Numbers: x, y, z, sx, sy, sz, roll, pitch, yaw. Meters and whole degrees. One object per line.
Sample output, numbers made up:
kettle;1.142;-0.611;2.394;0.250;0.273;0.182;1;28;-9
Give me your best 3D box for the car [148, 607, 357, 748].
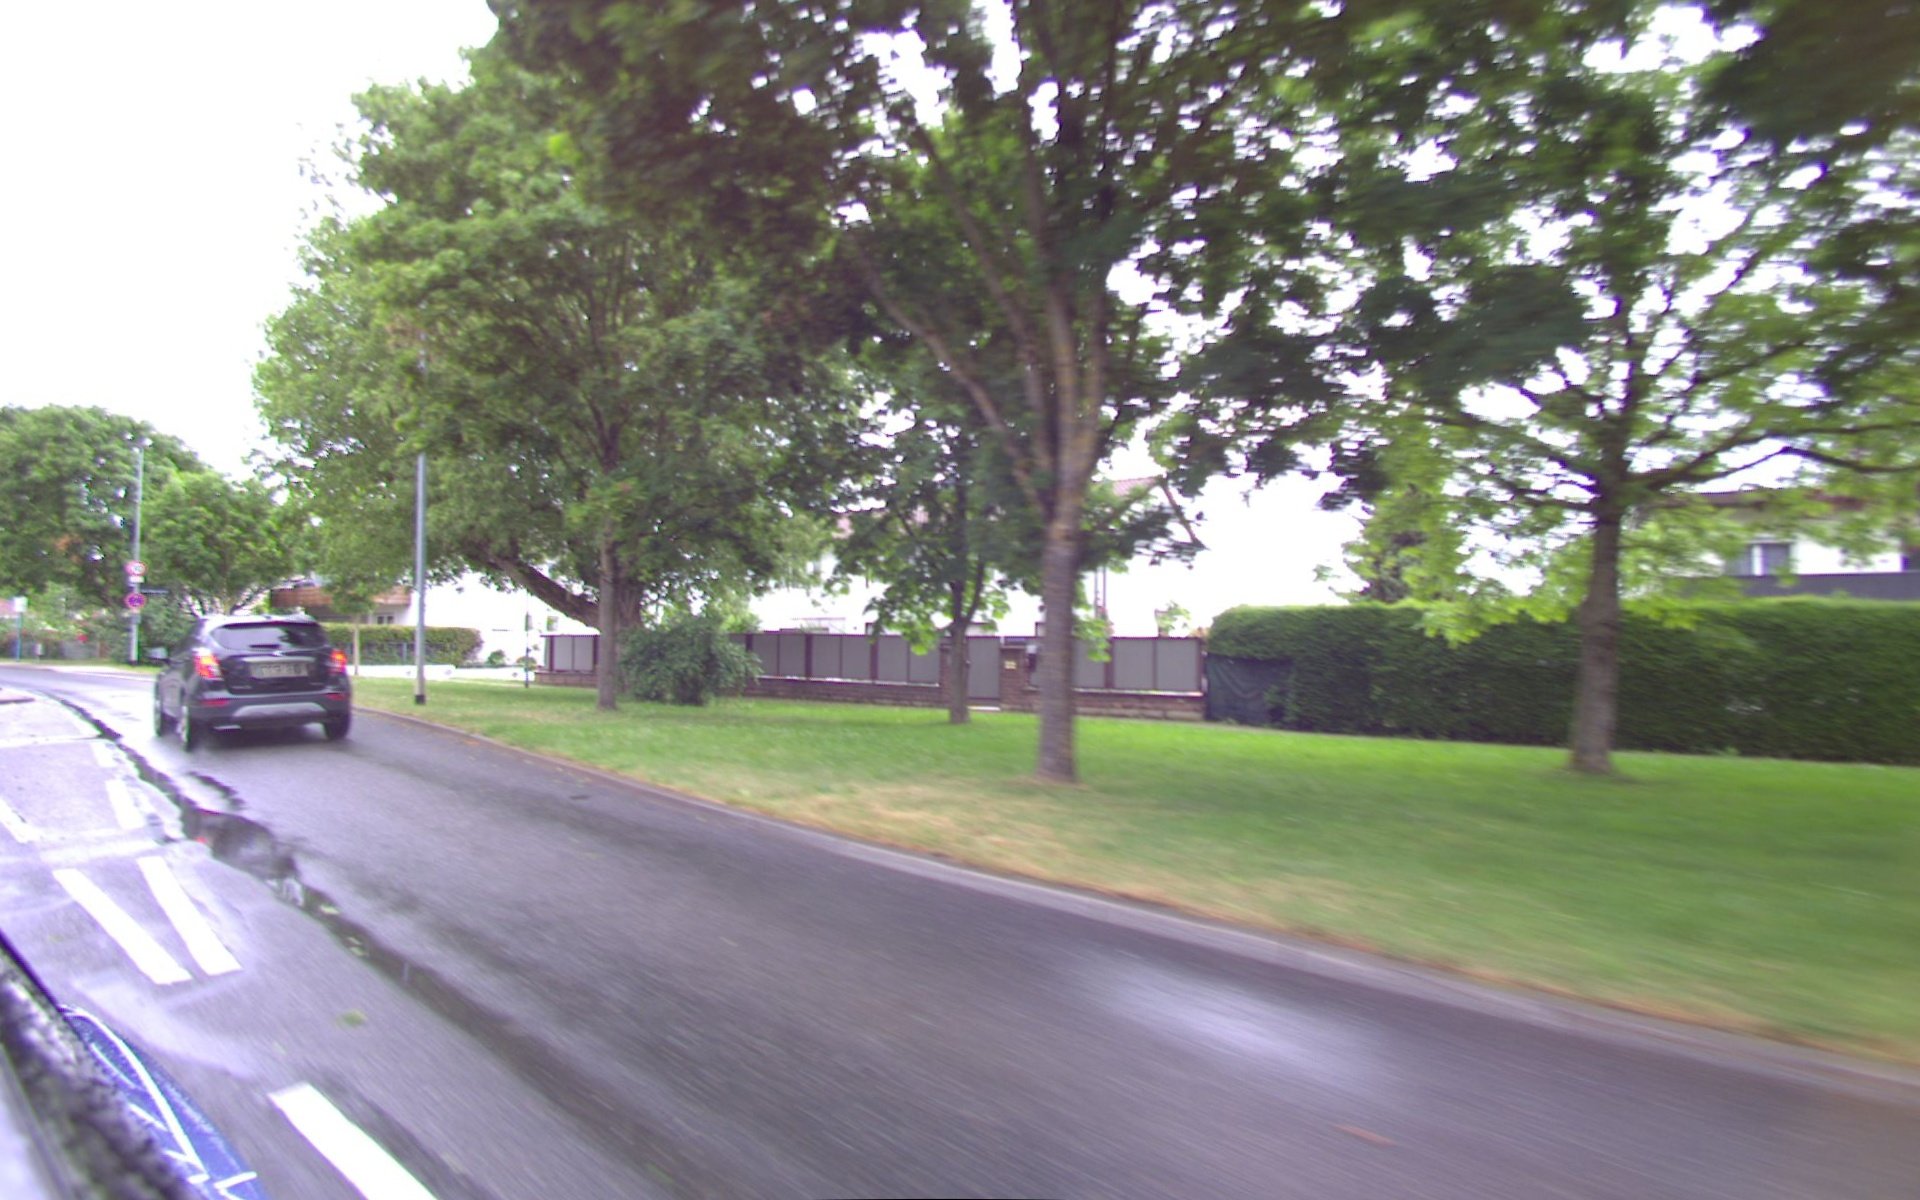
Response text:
car;-9.638;0.950;13.655;1.689;1.609;4.175;2;-2;-44
